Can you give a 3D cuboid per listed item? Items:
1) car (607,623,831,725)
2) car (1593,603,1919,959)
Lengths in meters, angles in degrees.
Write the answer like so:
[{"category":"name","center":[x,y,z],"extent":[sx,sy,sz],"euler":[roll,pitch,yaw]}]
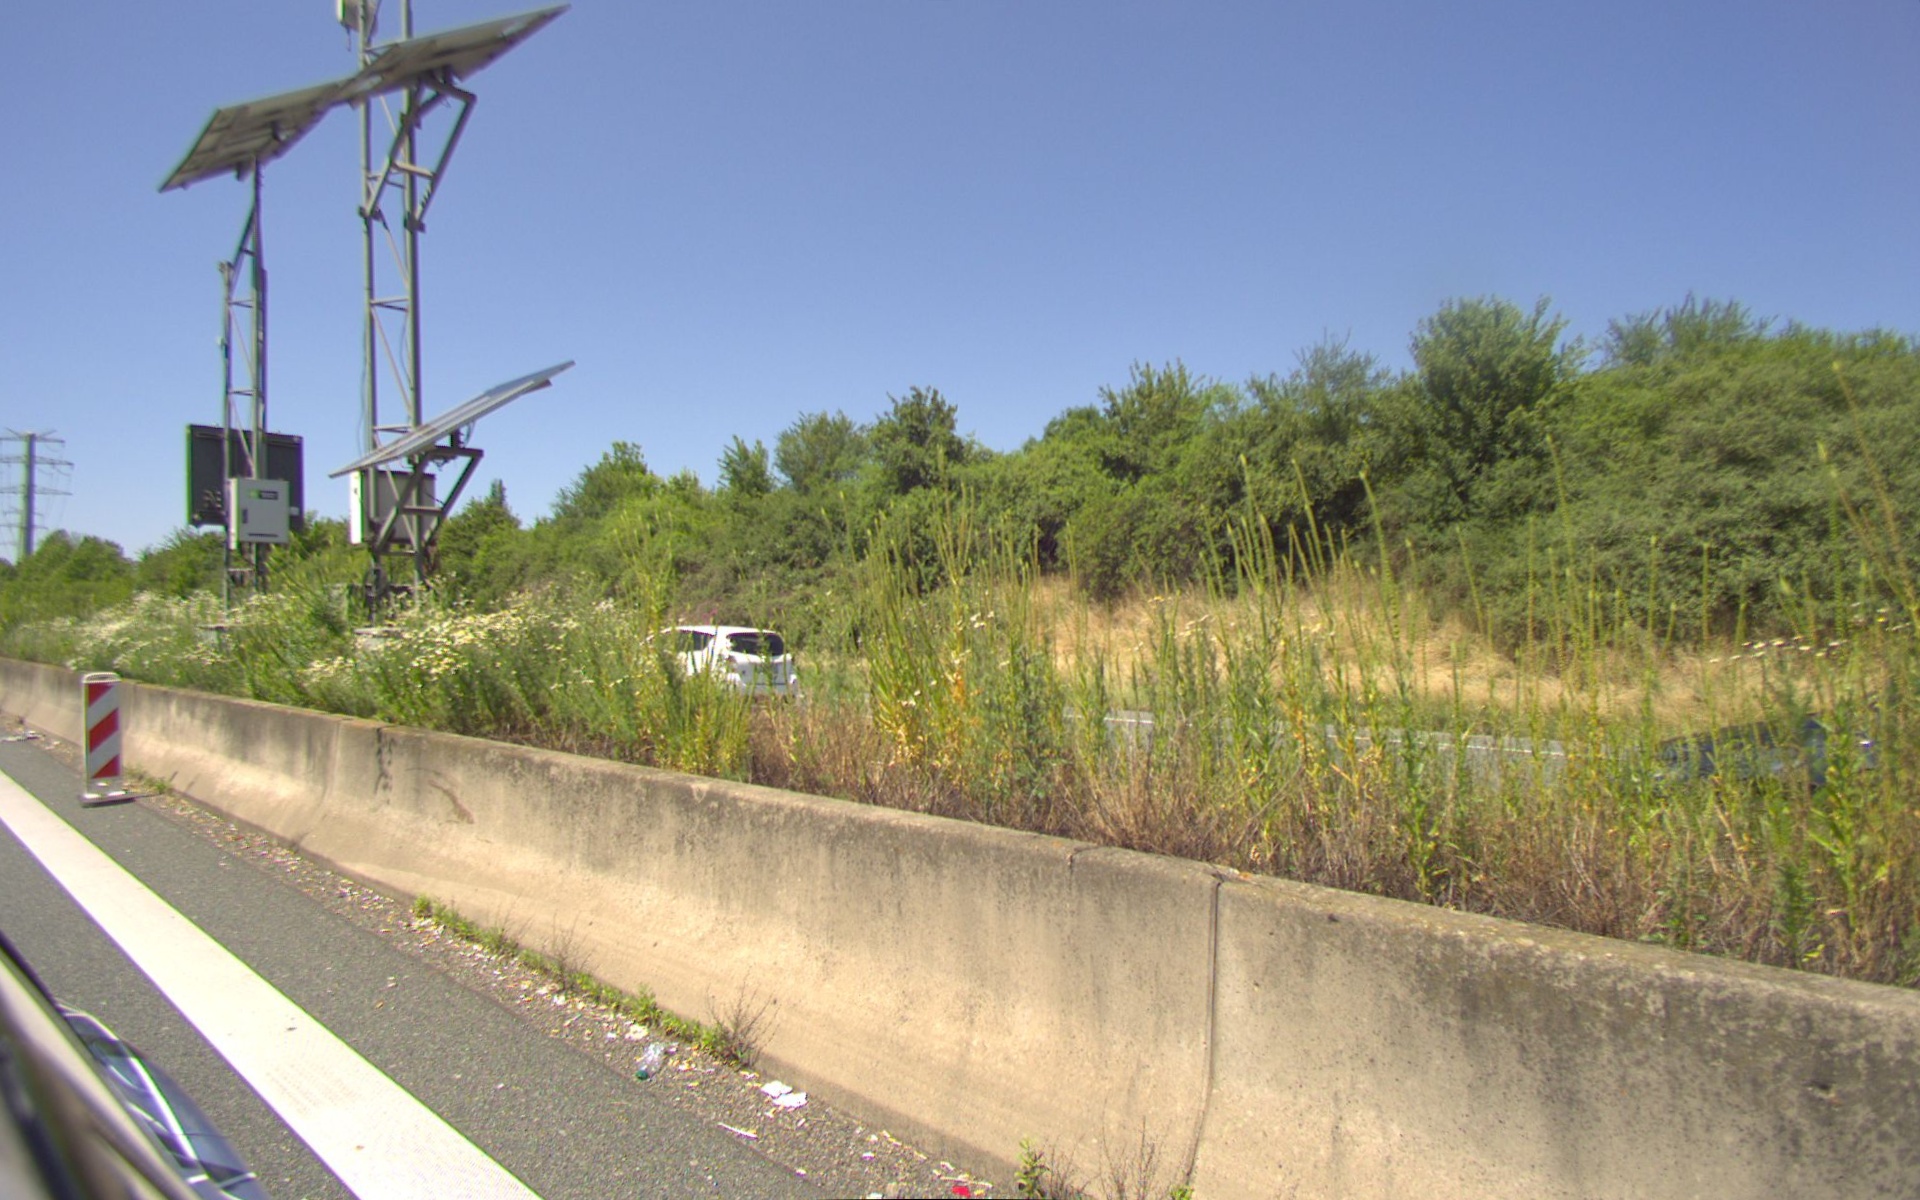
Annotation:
[{"category":"car","center":[-4.545,1.290,18.807],"extent":[4.227,1.674,1.973],"euler":[-1,-3,41]},{"category":"car","center":[5.799,0.879,5.140],"extent":[4.167,1.712,1.755],"euler":[-1,0,40]}]
